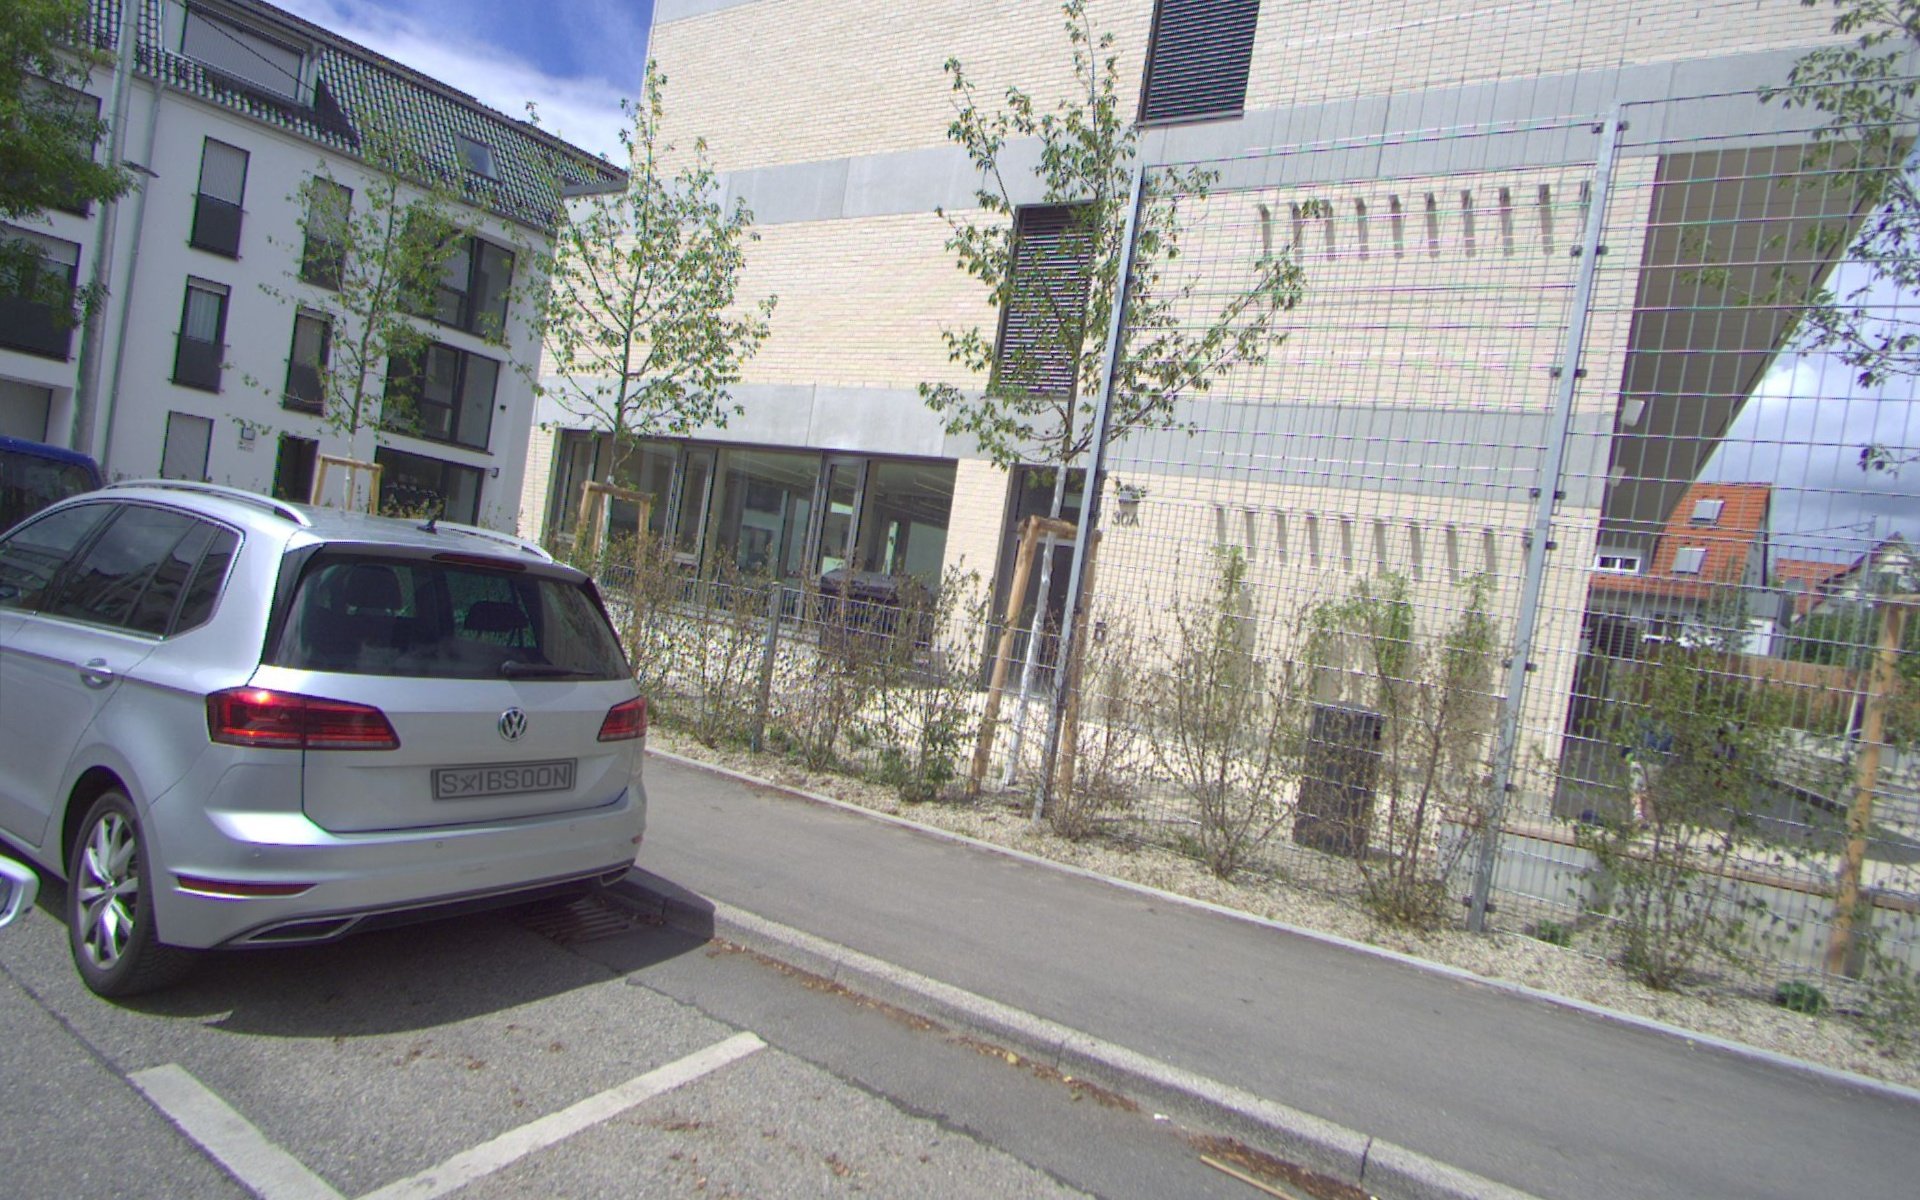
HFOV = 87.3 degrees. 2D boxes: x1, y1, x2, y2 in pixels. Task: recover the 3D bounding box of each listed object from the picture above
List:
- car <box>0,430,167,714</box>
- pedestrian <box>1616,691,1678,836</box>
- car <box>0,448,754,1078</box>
[{"bbox_3d":[-8.012,-0.407,7.432,4.440,1.788,1.847,7,-1,32],"label":"car"},{"bbox_3d":[7.145,1.687,10.476,0.362,1.433,0.351,7,0,31],"label":"pedestrian"},{"bbox_3d":[-3.186,0.286,4.388,4.292,1.527,1.789,7,-1,32],"label":"car"}]
